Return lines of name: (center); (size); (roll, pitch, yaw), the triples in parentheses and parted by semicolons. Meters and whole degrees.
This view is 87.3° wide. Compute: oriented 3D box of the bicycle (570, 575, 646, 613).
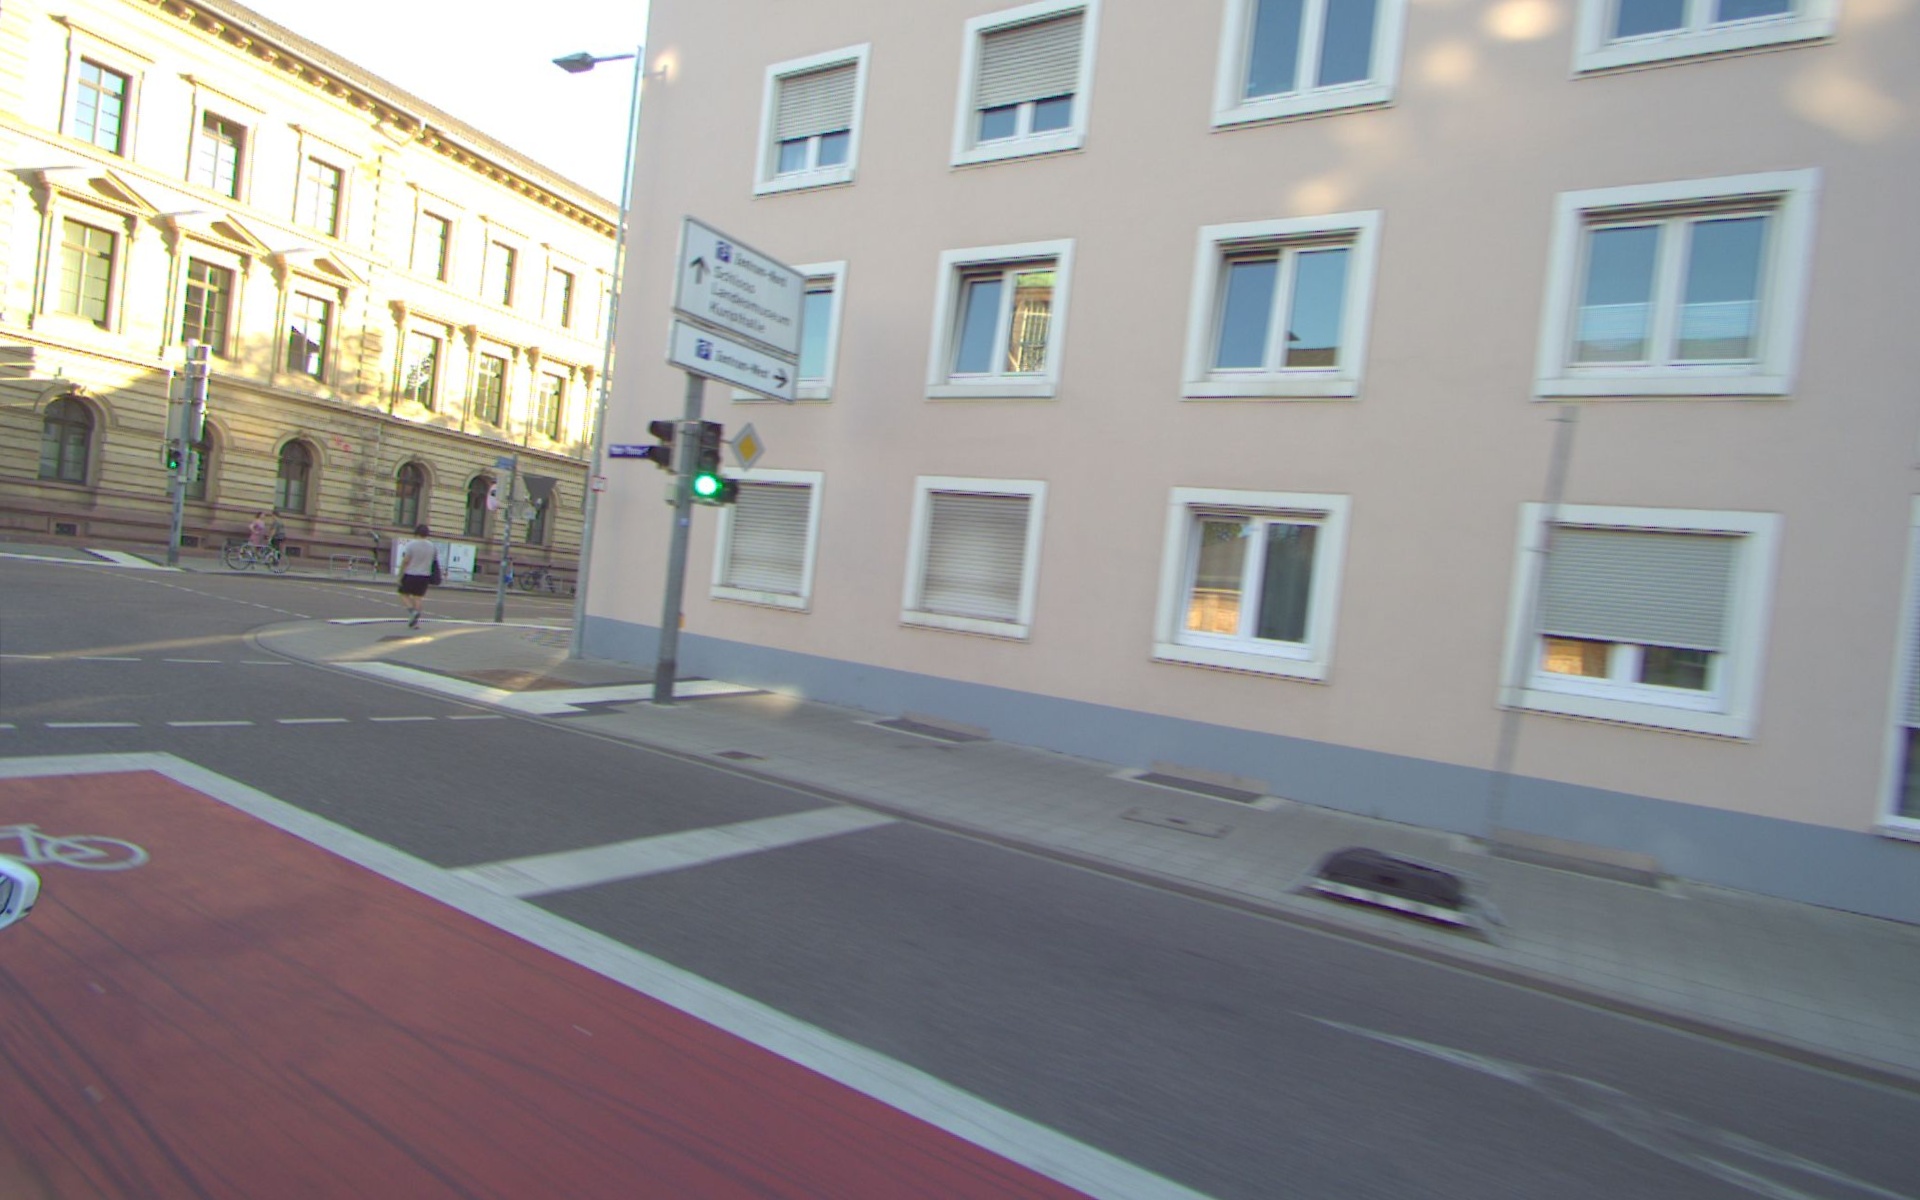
bicycle: (-12.629, -0.212, 36.194); (0.959, 1.118, 2.582); (7, 0, 25)

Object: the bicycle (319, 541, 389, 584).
bicycle: (-19.679, -1.211, 32.699); (0.684, 1.159, 1.726); (10, 2, 29)

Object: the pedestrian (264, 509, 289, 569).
pedestrian: (-22.399, -1.988, 32.961); (0.530, 1.881, 0.616); (5, 1, -34)

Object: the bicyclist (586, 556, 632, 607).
bicyclist: (-12.595, -0.663, 36.123); (0.952, 1.653, 1.044); (7, 1, 25)

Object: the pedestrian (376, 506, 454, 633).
pedestrian: (-9.306, -0.531, 17.172); (0.782, 2.039, 0.982); (6, 1, -44)

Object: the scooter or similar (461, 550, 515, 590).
scooter or similar: (-18.284, -1.170, 38.990); (1.879, 1.344, 0.922); (7, 1, 32)

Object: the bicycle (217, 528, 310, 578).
bicycle: (-21.024, -1.396, 30.389); (0.847, 1.222, 2.053); (10, 2, 29)

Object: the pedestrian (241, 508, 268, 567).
pedestrian: (-22.941, -2.023, 32.734); (0.420, 1.881, 0.449); (6, 1, -10)
